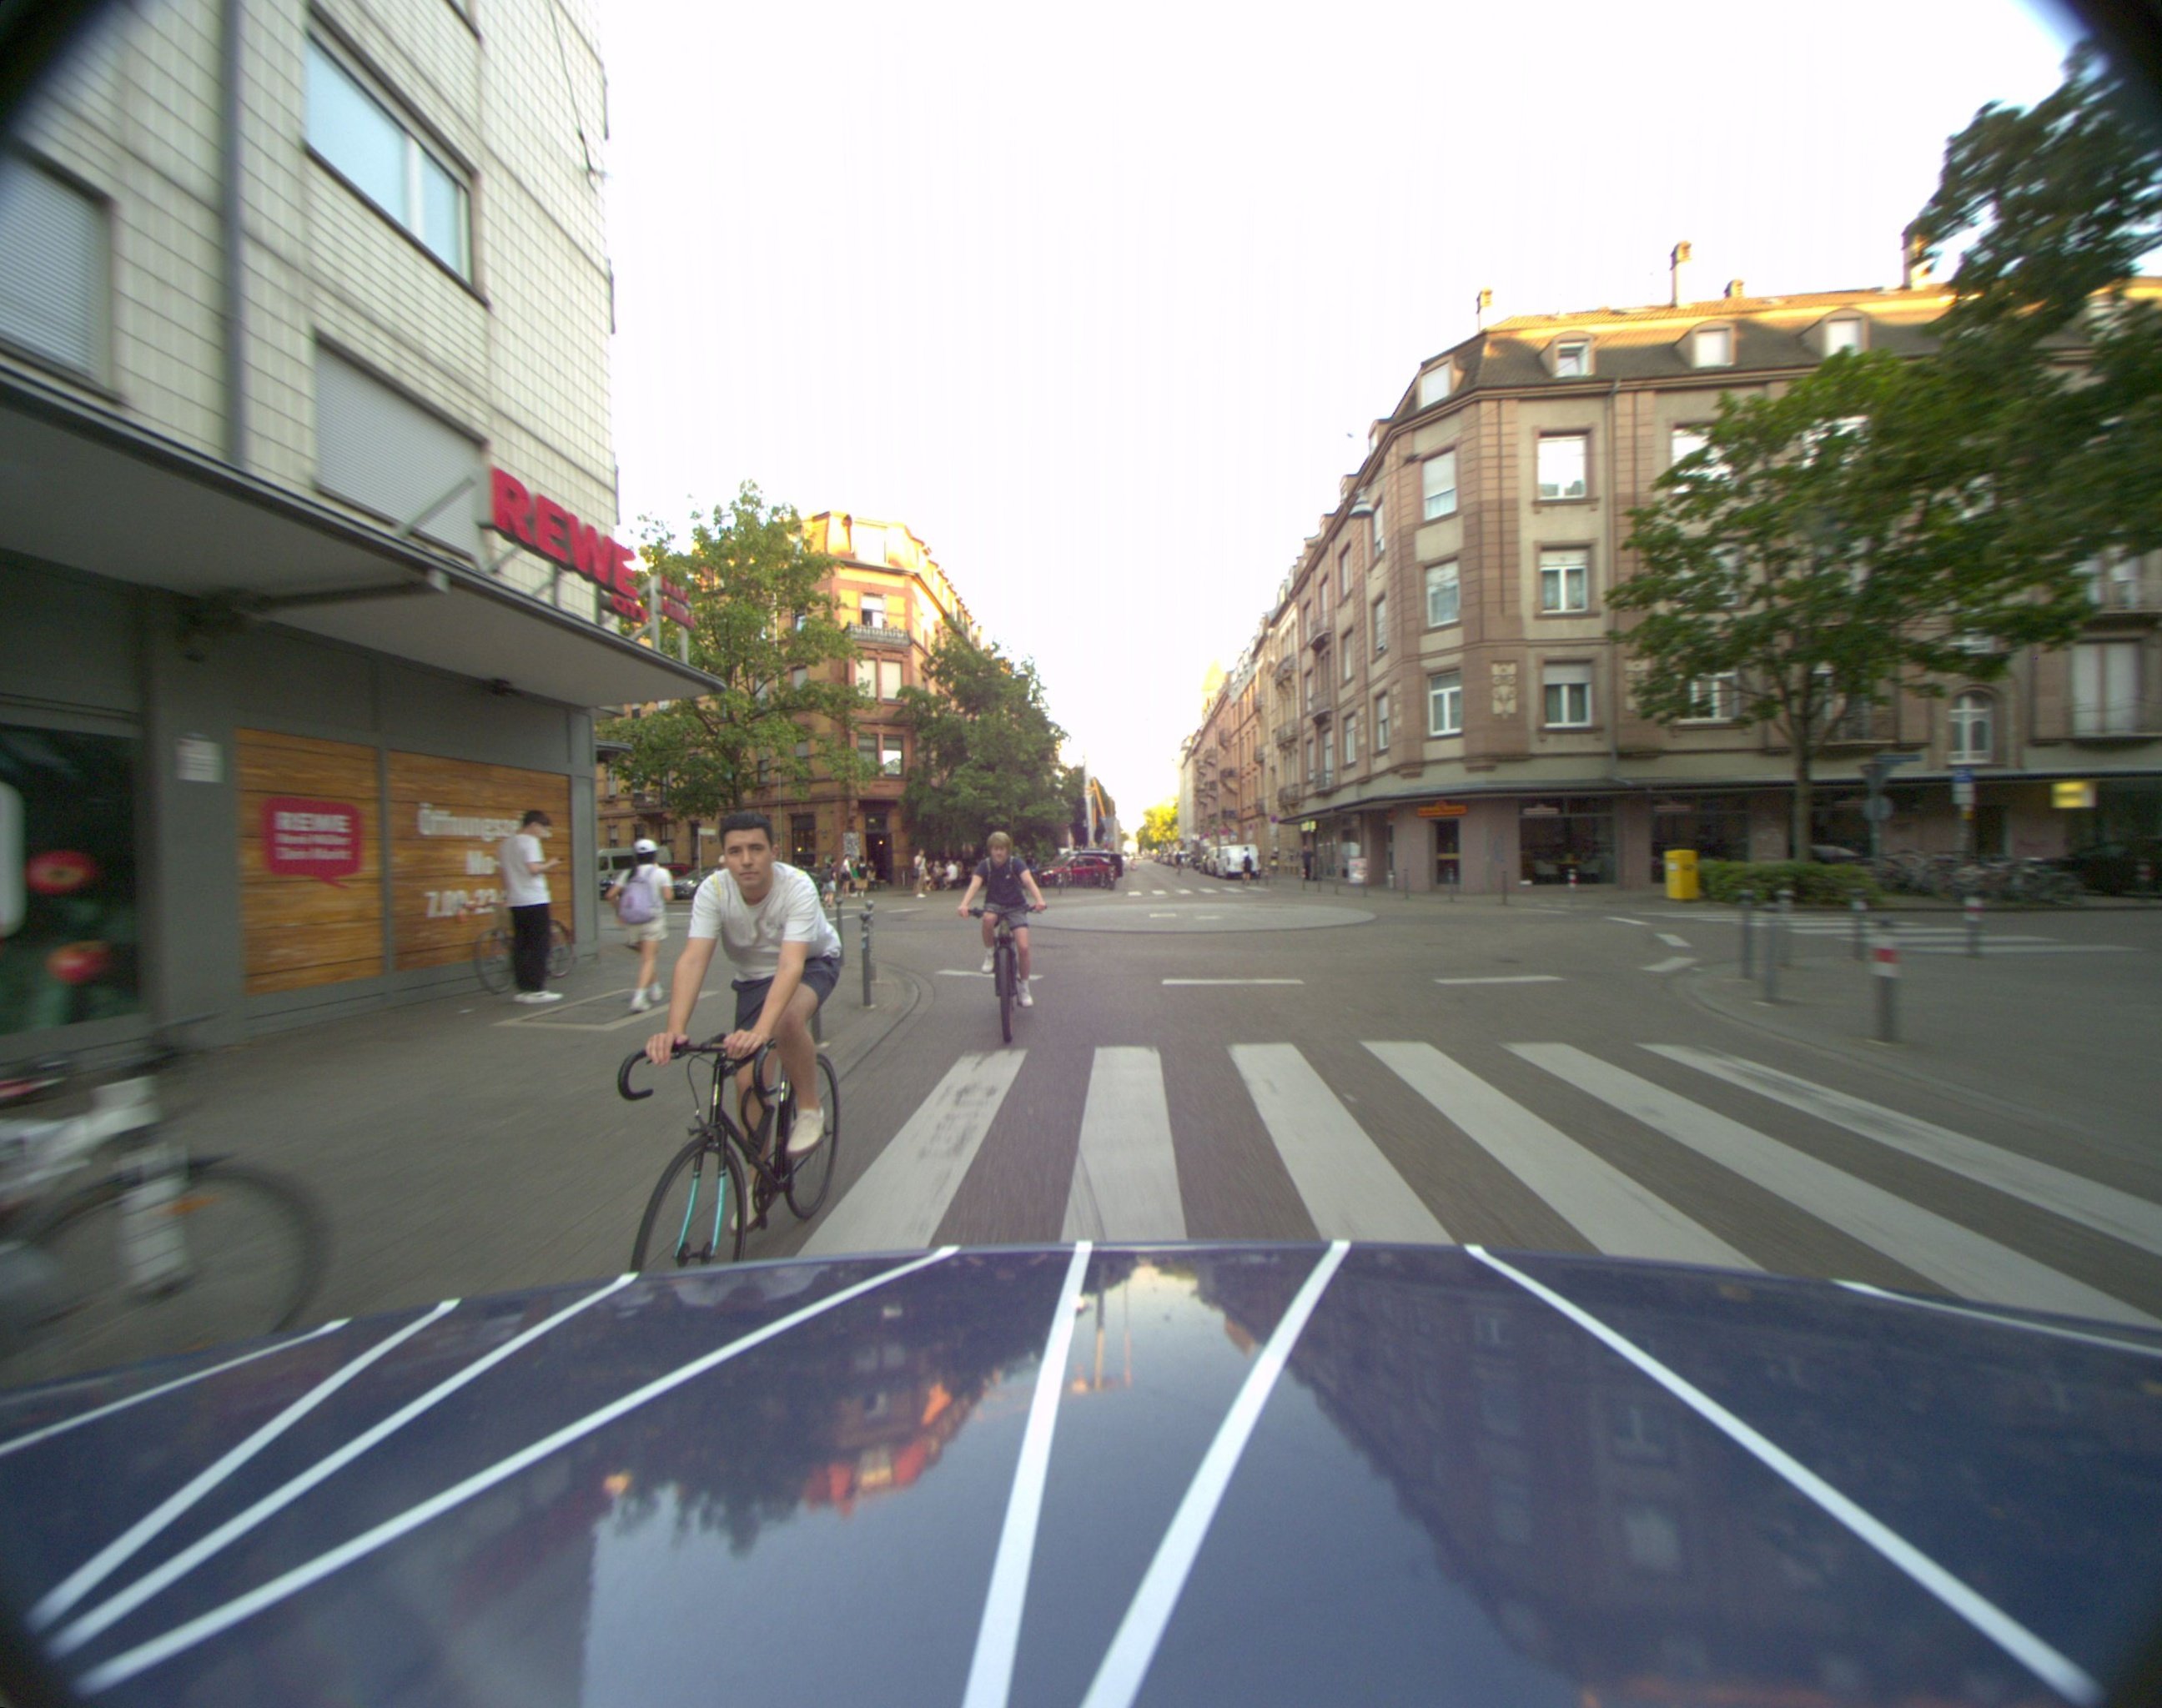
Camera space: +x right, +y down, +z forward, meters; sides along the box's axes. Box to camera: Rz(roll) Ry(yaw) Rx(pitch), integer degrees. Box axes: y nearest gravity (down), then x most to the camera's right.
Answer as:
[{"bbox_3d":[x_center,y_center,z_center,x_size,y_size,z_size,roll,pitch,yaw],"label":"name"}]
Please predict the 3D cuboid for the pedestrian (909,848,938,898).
[{"bbox_3d":[-6.036,0.713,29.121,0.673,1.858,0.911,-1,2,18],"label":"pedestrian"}]

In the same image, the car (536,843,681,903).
[{"bbox_3d":[-22.484,0.845,36.468,2.115,2.443,5.496,-1,3,26],"label":"car"}]

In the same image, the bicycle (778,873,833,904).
[{"bbox_3d":[-10.324,1.279,28.511,0.711,1.046,1.887,-1,2,30],"label":"bicycle"}]

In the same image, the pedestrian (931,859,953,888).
[{"bbox_3d":[-6.335,0.896,34.631,0.673,1.265,0.641,-1,2,30],"label":"pedestrian"}]

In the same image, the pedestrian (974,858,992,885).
[{"bbox_3d":[-4.684,0.824,36.442,0.721,1.297,0.750,-1,1,-16],"label":"pedestrian"}]

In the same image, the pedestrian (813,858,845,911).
[{"bbox_3d":[-7.647,0.918,23.086,0.538,1.597,0.869,0,0,15],"label":"pedestrian"}]

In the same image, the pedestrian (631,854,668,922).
[{"bbox_3d":[-11.166,0.868,19.684,0.694,1.735,0.711,0,0,-19],"label":"pedestrian"}]

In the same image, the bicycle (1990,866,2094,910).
[{"bbox_3d":[20.961,0.734,16.587,1.488,0.890,0.477,-2,2,8],"label":"bicycle"}]

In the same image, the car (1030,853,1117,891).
[{"bbox_3d":[-0.369,0.885,39.038,4.005,1.658,1.824,-3,2,-27],"label":"car"}]

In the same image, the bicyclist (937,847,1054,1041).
[{"bbox_3d":[-0.716,0.745,6.619,0.793,1.562,0.827,-2,0,5],"label":"bicyclist"}]

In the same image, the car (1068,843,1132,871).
[{"bbox_3d":[1.676,0.243,67.619,5.151,2.182,2.334,-3,2,-21],"label":"car"}]

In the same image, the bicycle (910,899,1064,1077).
[{"bbox_3d":[-0.705,1.035,6.616,0.793,1.133,2.344,-2,0,5],"label":"bicycle"}]

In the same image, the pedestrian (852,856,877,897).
[{"bbox_3d":[-8.686,0.892,30.505,0.673,1.628,0.642,0,2,40],"label":"pedestrian"}]

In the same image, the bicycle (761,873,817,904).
[{"bbox_3d":[-11.030,1.284,28.776,0.711,1.052,1.887,-1,2,30],"label":"bicycle"}]

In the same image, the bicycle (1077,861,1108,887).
[{"bbox_3d":[0.537,0.948,36.675,0.666,1.162,2.111,1,0,-24],"label":"bicycle"}]

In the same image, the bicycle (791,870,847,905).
[{"bbox_3d":[-9.700,1.214,28.175,0.711,1.148,1.887,-1,2,30],"label":"bicycle"}]

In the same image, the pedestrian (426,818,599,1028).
[{"bbox_3d":[-5.586,0.626,7.549,0.762,1.901,1.190,1,1,4],"label":"pedestrian"}]

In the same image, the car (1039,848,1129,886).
[{"bbox_3d":[0.203,0.752,47.395,5.151,2.085,2.113,-3,2,-21],"label":"car"}]

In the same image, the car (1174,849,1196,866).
[{"bbox_3d":[11.657,0.374,85.250,2.140,1.811,4.541,-2,0,4],"label":"car"}]

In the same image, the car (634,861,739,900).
[{"bbox_3d":[-18.006,1.172,34.865,1.624,1.494,3.982,-1,2,28],"label":"car"}]

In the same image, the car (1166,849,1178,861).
[{"bbox_3d":[14.361,0.105,119.762,1.867,1.729,3.801,-2,1,7],"label":"car"}]

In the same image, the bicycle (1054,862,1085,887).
[{"bbox_3d":[-0.574,0.947,35.931,0.666,1.125,2.111,1,0,-24],"label":"bicycle"}]

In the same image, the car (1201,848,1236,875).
[{"bbox_3d":[10.229,0.520,56.799,2.140,1.811,4.541,-2,0,5],"label":"car"}]

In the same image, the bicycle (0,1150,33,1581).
[{"bbox_3d":[-3.182,1.175,1.529,1.421,0.978,0.510,0,2,1],"label":"bicycle"}]

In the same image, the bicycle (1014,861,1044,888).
[{"bbox_3d":[-2.415,0.938,35.092,0.666,1.158,2.111,1,0,-24],"label":"bicycle"}]

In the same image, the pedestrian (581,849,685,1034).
[{"bbox_3d":[-4.320,0.783,7.311,0.665,1.642,0.881,1,1,-43],"label":"pedestrian"}]

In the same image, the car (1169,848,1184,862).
[{"bbox_3d":[13.185,0.124,104.706,1.997,1.729,4.001,-2,1,7],"label":"car"}]

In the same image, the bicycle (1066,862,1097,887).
[{"bbox_3d":[0.021,0.960,36.238,0.666,1.125,2.111,1,0,-24],"label":"bicycle"}]

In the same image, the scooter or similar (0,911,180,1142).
[{"bbox_3d":[-6.278,1.004,4.189,0.478,1.211,1.625,0,2,11],"label":"scooter or similar"}]

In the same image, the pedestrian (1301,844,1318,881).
[{"bbox_3d":[11.051,0.415,36.728,0.654,1.768,0.693,-2,0,22],"label":"pedestrian"}]

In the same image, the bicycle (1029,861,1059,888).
[{"bbox_3d":[-1.733,0.931,35.360,0.666,1.158,2.111,1,0,-24],"label":"bicycle"}]

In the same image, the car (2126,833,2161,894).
[{"bbox_3d":[27.693,0.275,17.475,1.850,1.502,3.999,0,1,2],"label":"car"}]

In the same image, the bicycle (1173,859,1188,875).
[{"bbox_3d":[7.456,0.980,56.788,0.754,1.124,1.976,-1,0,-2],"label":"bicycle"}]

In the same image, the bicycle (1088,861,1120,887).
[{"bbox_3d":[1.095,0.957,36.512,0.666,1.162,2.111,1,0,-24],"label":"bicycle"}]

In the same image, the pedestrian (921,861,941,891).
[{"bbox_3d":[-6.553,0.938,33.176,0.675,1.265,0.639,-3,2,-24],"label":"pedestrian"}]

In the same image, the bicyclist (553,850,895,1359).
[{"bbox_3d":[-1.187,0.756,2.750,0.650,1.500,0.953,-2,2,6],"label":"bicyclist"}]

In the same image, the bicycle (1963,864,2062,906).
[{"bbox_3d":[21.087,0.707,17.219,1.488,0.890,0.477,-2,2,8],"label":"bicycle"}]

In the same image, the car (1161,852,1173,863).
[{"bbox_3d":[14.278,0.595,125.428,1.907,1.729,3.851,-2,1,7],"label":"car"}]

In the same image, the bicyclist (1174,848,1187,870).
[{"bbox_3d":[7.436,0.376,56.788,0.754,1.630,1.201,-1,0,-2],"label":"bicyclist"}]

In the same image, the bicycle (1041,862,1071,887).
[{"bbox_3d":[-1.191,0.942,35.613,0.666,1.125,2.111,1,0,-24],"label":"bicycle"}]

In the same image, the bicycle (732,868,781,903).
[{"bbox_3d":[-12.694,1.227,29.823,0.711,1.232,1.886,-2,2,14],"label":"bicycle"}]

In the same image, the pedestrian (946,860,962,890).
[{"bbox_3d":[-5.592,0.901,33.428,0.641,1.265,0.674,-2,2,-11],"label":"pedestrian"}]

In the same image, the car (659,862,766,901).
[{"bbox_3d":[-16.068,1.151,33.320,1.624,1.412,3.982,-1,2,28],"label":"car"}]

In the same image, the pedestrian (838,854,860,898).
[{"bbox_3d":[-9.397,0.868,30.773,0.675,1.735,0.640,-2,2,-5],"label":"pedestrian"}]

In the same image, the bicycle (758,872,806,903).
[{"bbox_3d":[-11.594,1.285,29.541,0.711,1.072,1.886,-2,2,14],"label":"bicycle"}]

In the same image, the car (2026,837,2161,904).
[{"bbox_3d":[25.119,0.351,17.690,1.720,1.468,3.687,0,2,4],"label":"car"}]

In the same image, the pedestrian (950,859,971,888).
[{"bbox_3d":[-5.508,0.899,34.784,0.639,1.265,0.676,0,2,42],"label":"pedestrian"}]

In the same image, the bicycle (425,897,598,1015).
[{"bbox_3d":[-6.174,1.059,8.376,0.457,1.019,1.783,-2,1,2],"label":"bicycle"}]

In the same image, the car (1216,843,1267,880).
[{"bbox_3d":[9.371,0.404,44.737,2.141,1.947,4.770,-2,0,2],"label":"car"}]

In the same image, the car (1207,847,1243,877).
[{"bbox_3d":[9.611,0.490,50.876,1.878,1.892,4.327,-2,0,5],"label":"car"}]

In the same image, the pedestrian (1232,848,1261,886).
[{"bbox_3d":[7.692,0.592,35.285,0.747,1.733,1.215,-2,1,41],"label":"pedestrian"}]

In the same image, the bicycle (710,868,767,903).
[{"bbox_3d":[-13.530,1.229,30.082,0.710,1.232,1.888,-1,2,36],"label":"bicycle"}]

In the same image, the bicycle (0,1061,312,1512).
[{"bbox_3d":[-3.248,1.163,2.180,1.551,0.996,0.510,0,2,1],"label":"bicycle"}]

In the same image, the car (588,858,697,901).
[{"bbox_3d":[-20.229,1.133,35.220,1.759,1.653,3.982,-1,2,28],"label":"car"}]

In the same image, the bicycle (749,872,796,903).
[{"bbox_3d":[-12.093,1.286,29.853,0.711,1.072,1.886,-2,2,14],"label":"bicycle"}]

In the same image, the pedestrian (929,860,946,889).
[{"bbox_3d":[-6.383,0.909,33.789,0.675,1.265,0.640,-2,2,-12],"label":"pedestrian"}]

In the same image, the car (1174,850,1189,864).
[{"bbox_3d":[12.643,0.393,95.617,1.839,1.633,3.926,-2,1,7],"label":"car"}]

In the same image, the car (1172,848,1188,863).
[{"bbox_3d":[12.969,0.179,99.681,1.997,1.729,4.001,-2,1,7],"label":"car"}]
